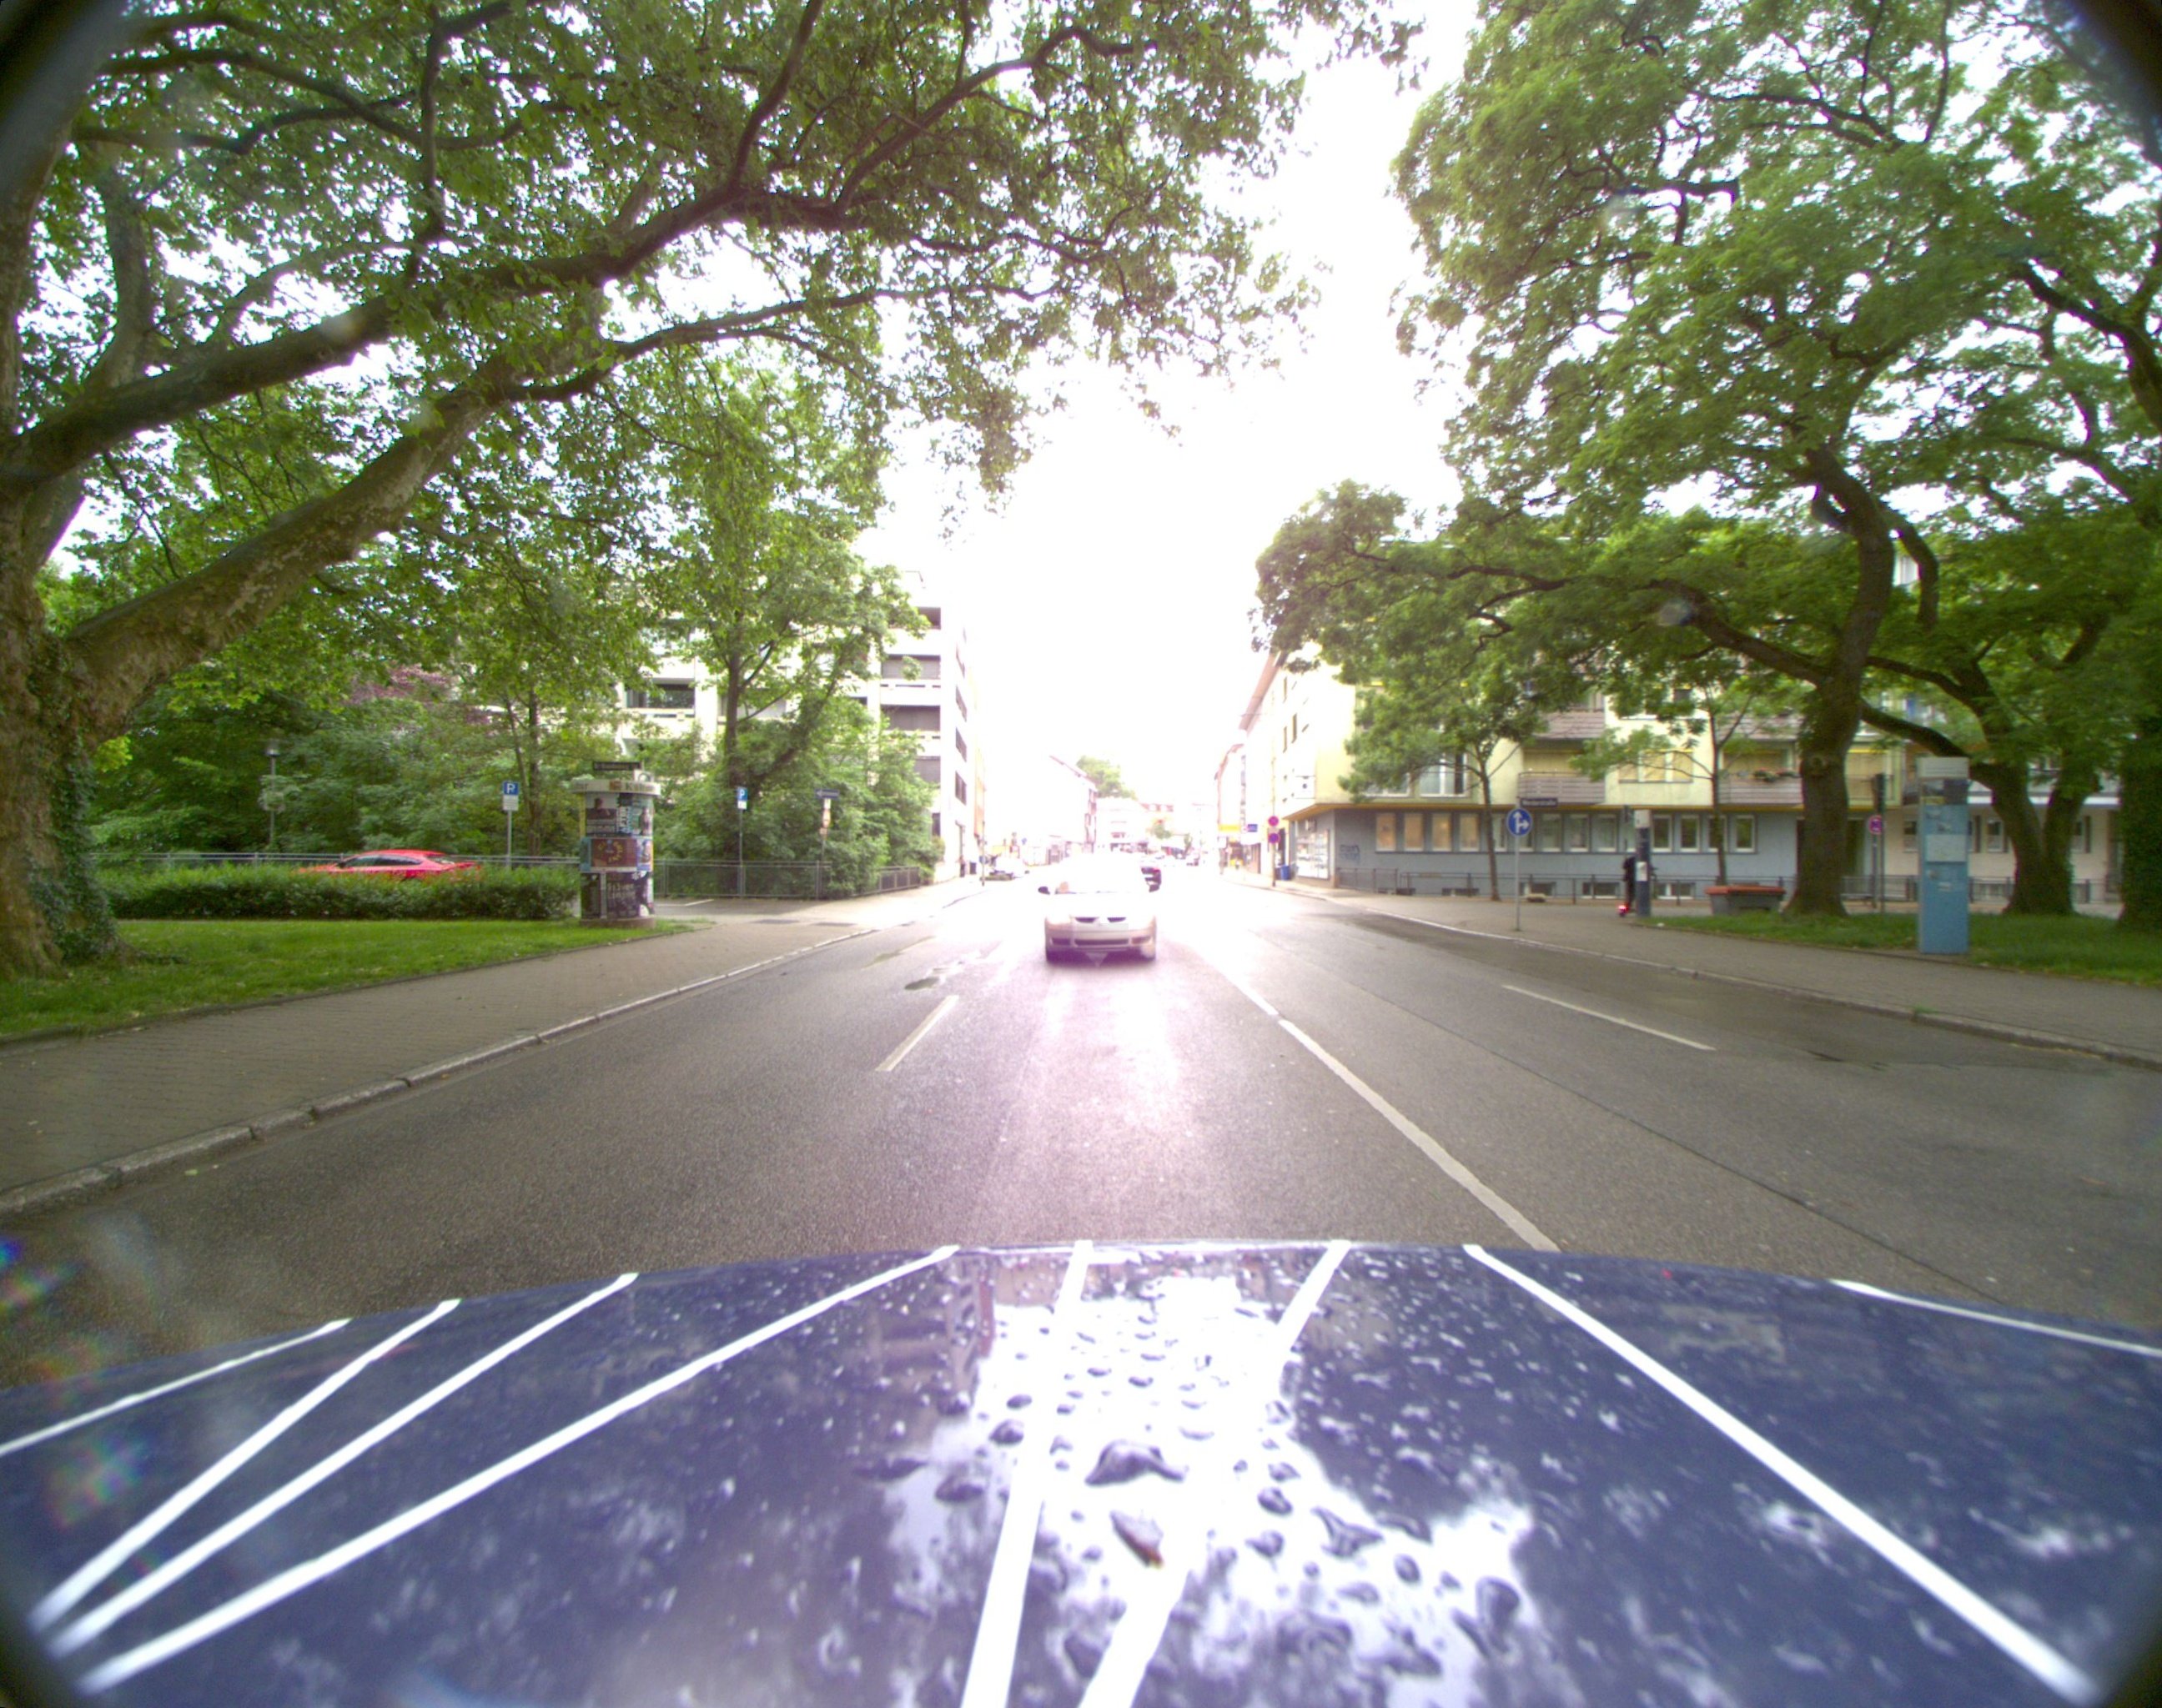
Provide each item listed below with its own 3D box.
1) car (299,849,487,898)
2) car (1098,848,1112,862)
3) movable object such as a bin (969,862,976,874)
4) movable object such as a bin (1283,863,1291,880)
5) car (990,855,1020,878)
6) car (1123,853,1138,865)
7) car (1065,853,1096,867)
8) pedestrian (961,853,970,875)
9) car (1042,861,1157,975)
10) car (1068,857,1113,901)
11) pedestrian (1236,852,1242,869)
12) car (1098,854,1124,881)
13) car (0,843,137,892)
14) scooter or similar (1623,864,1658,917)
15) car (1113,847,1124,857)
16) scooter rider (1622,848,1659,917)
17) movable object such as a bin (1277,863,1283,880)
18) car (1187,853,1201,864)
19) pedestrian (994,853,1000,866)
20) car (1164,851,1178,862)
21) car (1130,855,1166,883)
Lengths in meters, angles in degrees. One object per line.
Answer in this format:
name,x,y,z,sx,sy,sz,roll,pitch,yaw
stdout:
car,-19.425,0.523,21.572,3.790,1.271,1.576,1,1,-3
car,3.563,0.124,112.436,1.935,1.817,3.999,-2,1,0
movable object such as a bin,-8.993,1.171,62.930,0.556,1.035,0.292,1,1,0
movable object such as a bin,13.086,1.104,48.293,0.415,1.023,0.353,1,1,8
car,-5.313,0.865,53.504,1.681,1.424,3.681,3,0,1
car,6.698,0.671,102.520,1.998,1.631,4.001,1,0,4
car,-0.079,0.703,94.527,3.599,1.528,1.606,-2,1,-8
pedestrian,-7.986,0.681,52.721,0.480,1.521,0.481,-2,1,1
car,0.287,0.918,12.240,1.576,1.514,3.241,-1,0,1
car,0.414,0.918,29.296,1.590,1.540,3.771,1,0,2
pedestrian,17.261,0.684,83.155,0.594,1.833,0.565,1,1,8
car,1.954,0.883,50.456,1.584,1.705,3.649,1,0,0
car,-29.076,0.362,21.178,3.468,1.271,1.448,1,1,-5
scooter or similar,14.900,0.961,20.236,0.676,1.373,0.669,-1,-1,32
car,6.821,-0.340,137.814,1.889,1.620,4.000,-2,1,3
scooter rider,14.883,0.752,20.233,0.711,1.806,0.699,-1,-1,33
movable object such as a bin,12.691,1.116,48.502,0.338,1.023,0.353,1,1,8
car,17.994,0.718,121.192,1.889,1.707,4.001,1,0,4
pedestrian,-8.944,0.580,81.102,0.557,1.367,0.504,1,1,1
car,13.570,0.387,114.381,1.867,1.648,4.001,1,0,4
car,3.693,0.808,42.350,1.701,1.433,3.897,1,0,1
